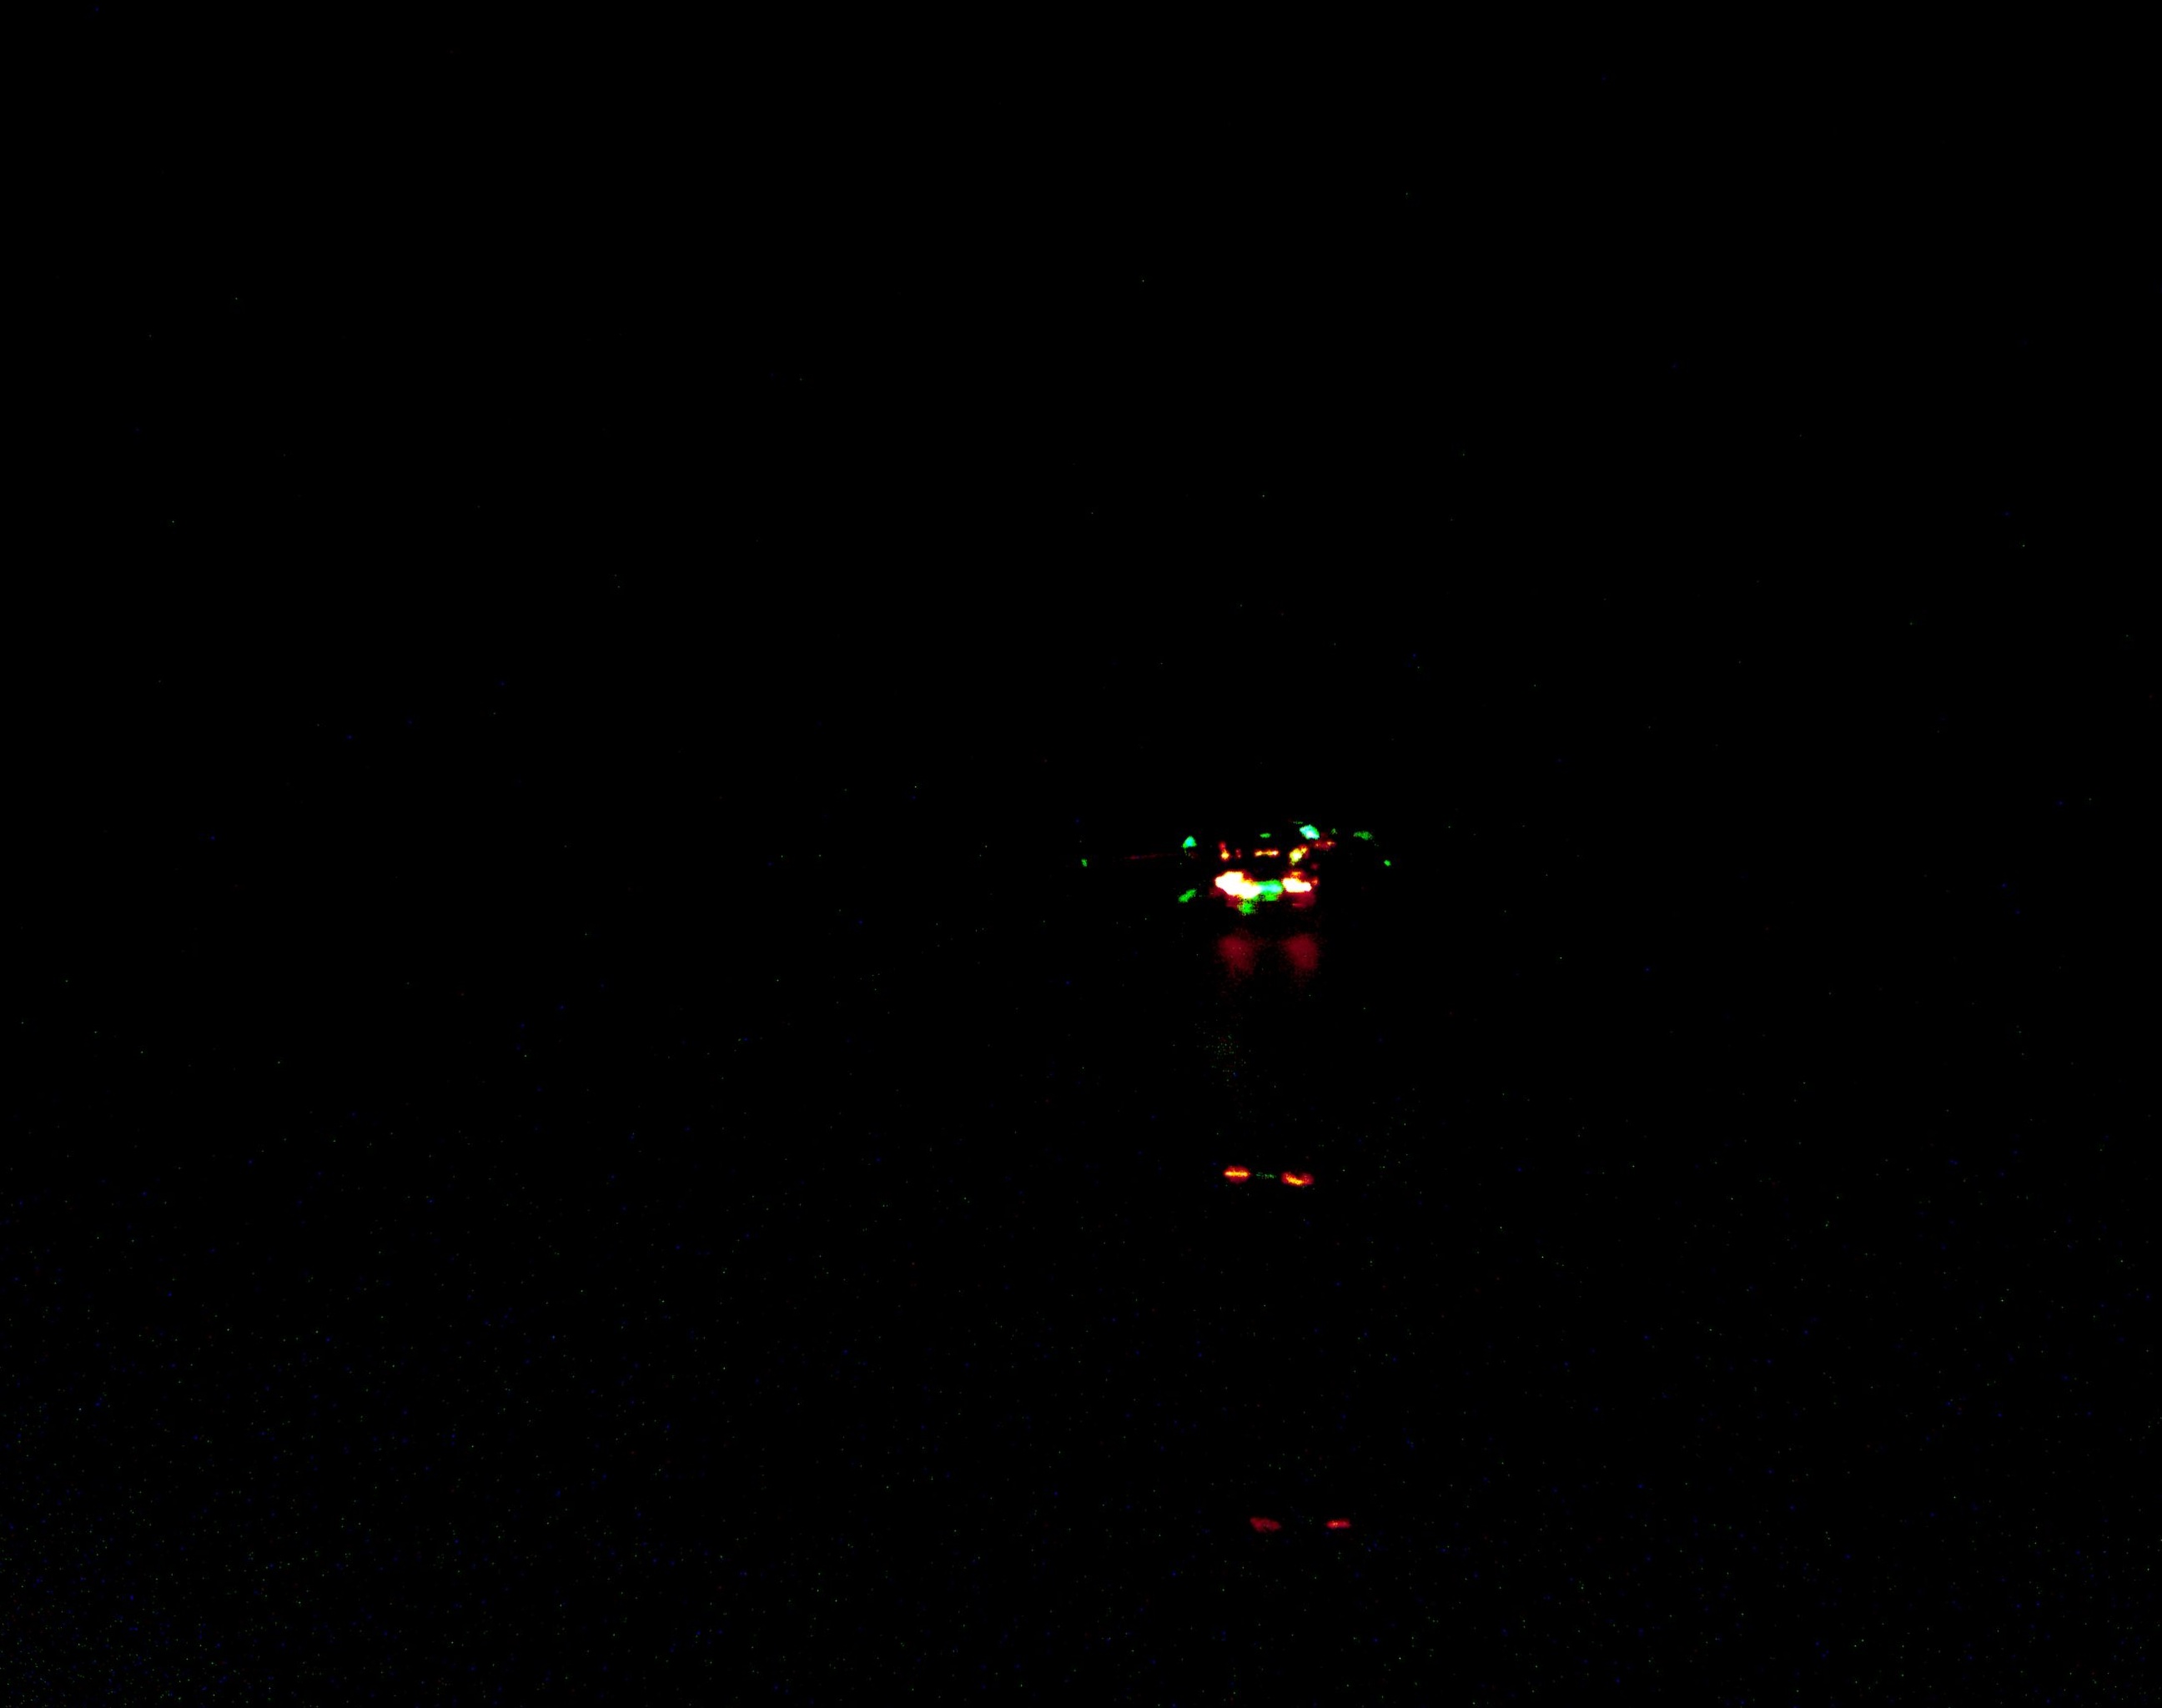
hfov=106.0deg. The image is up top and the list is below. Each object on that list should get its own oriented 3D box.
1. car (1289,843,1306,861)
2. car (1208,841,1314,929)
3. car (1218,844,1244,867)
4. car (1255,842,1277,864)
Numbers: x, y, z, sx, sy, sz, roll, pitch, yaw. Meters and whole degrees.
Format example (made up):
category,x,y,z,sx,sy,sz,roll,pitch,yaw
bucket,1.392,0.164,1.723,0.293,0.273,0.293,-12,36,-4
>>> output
category,x,y,z,sx,sy,sz,roll,pitch,yaw
car,26.436,-0.248,99.368,1.880,1.998,4.063,-2,0,17
car,3.733,0.563,17.491,1.850,1.647,4.077,0,0,7
car,11.886,0.132,64.658,1.883,1.720,4.057,-1,-1,10
car,18.032,-0.120,79.307,1.882,2.040,4.061,-2,0,14
